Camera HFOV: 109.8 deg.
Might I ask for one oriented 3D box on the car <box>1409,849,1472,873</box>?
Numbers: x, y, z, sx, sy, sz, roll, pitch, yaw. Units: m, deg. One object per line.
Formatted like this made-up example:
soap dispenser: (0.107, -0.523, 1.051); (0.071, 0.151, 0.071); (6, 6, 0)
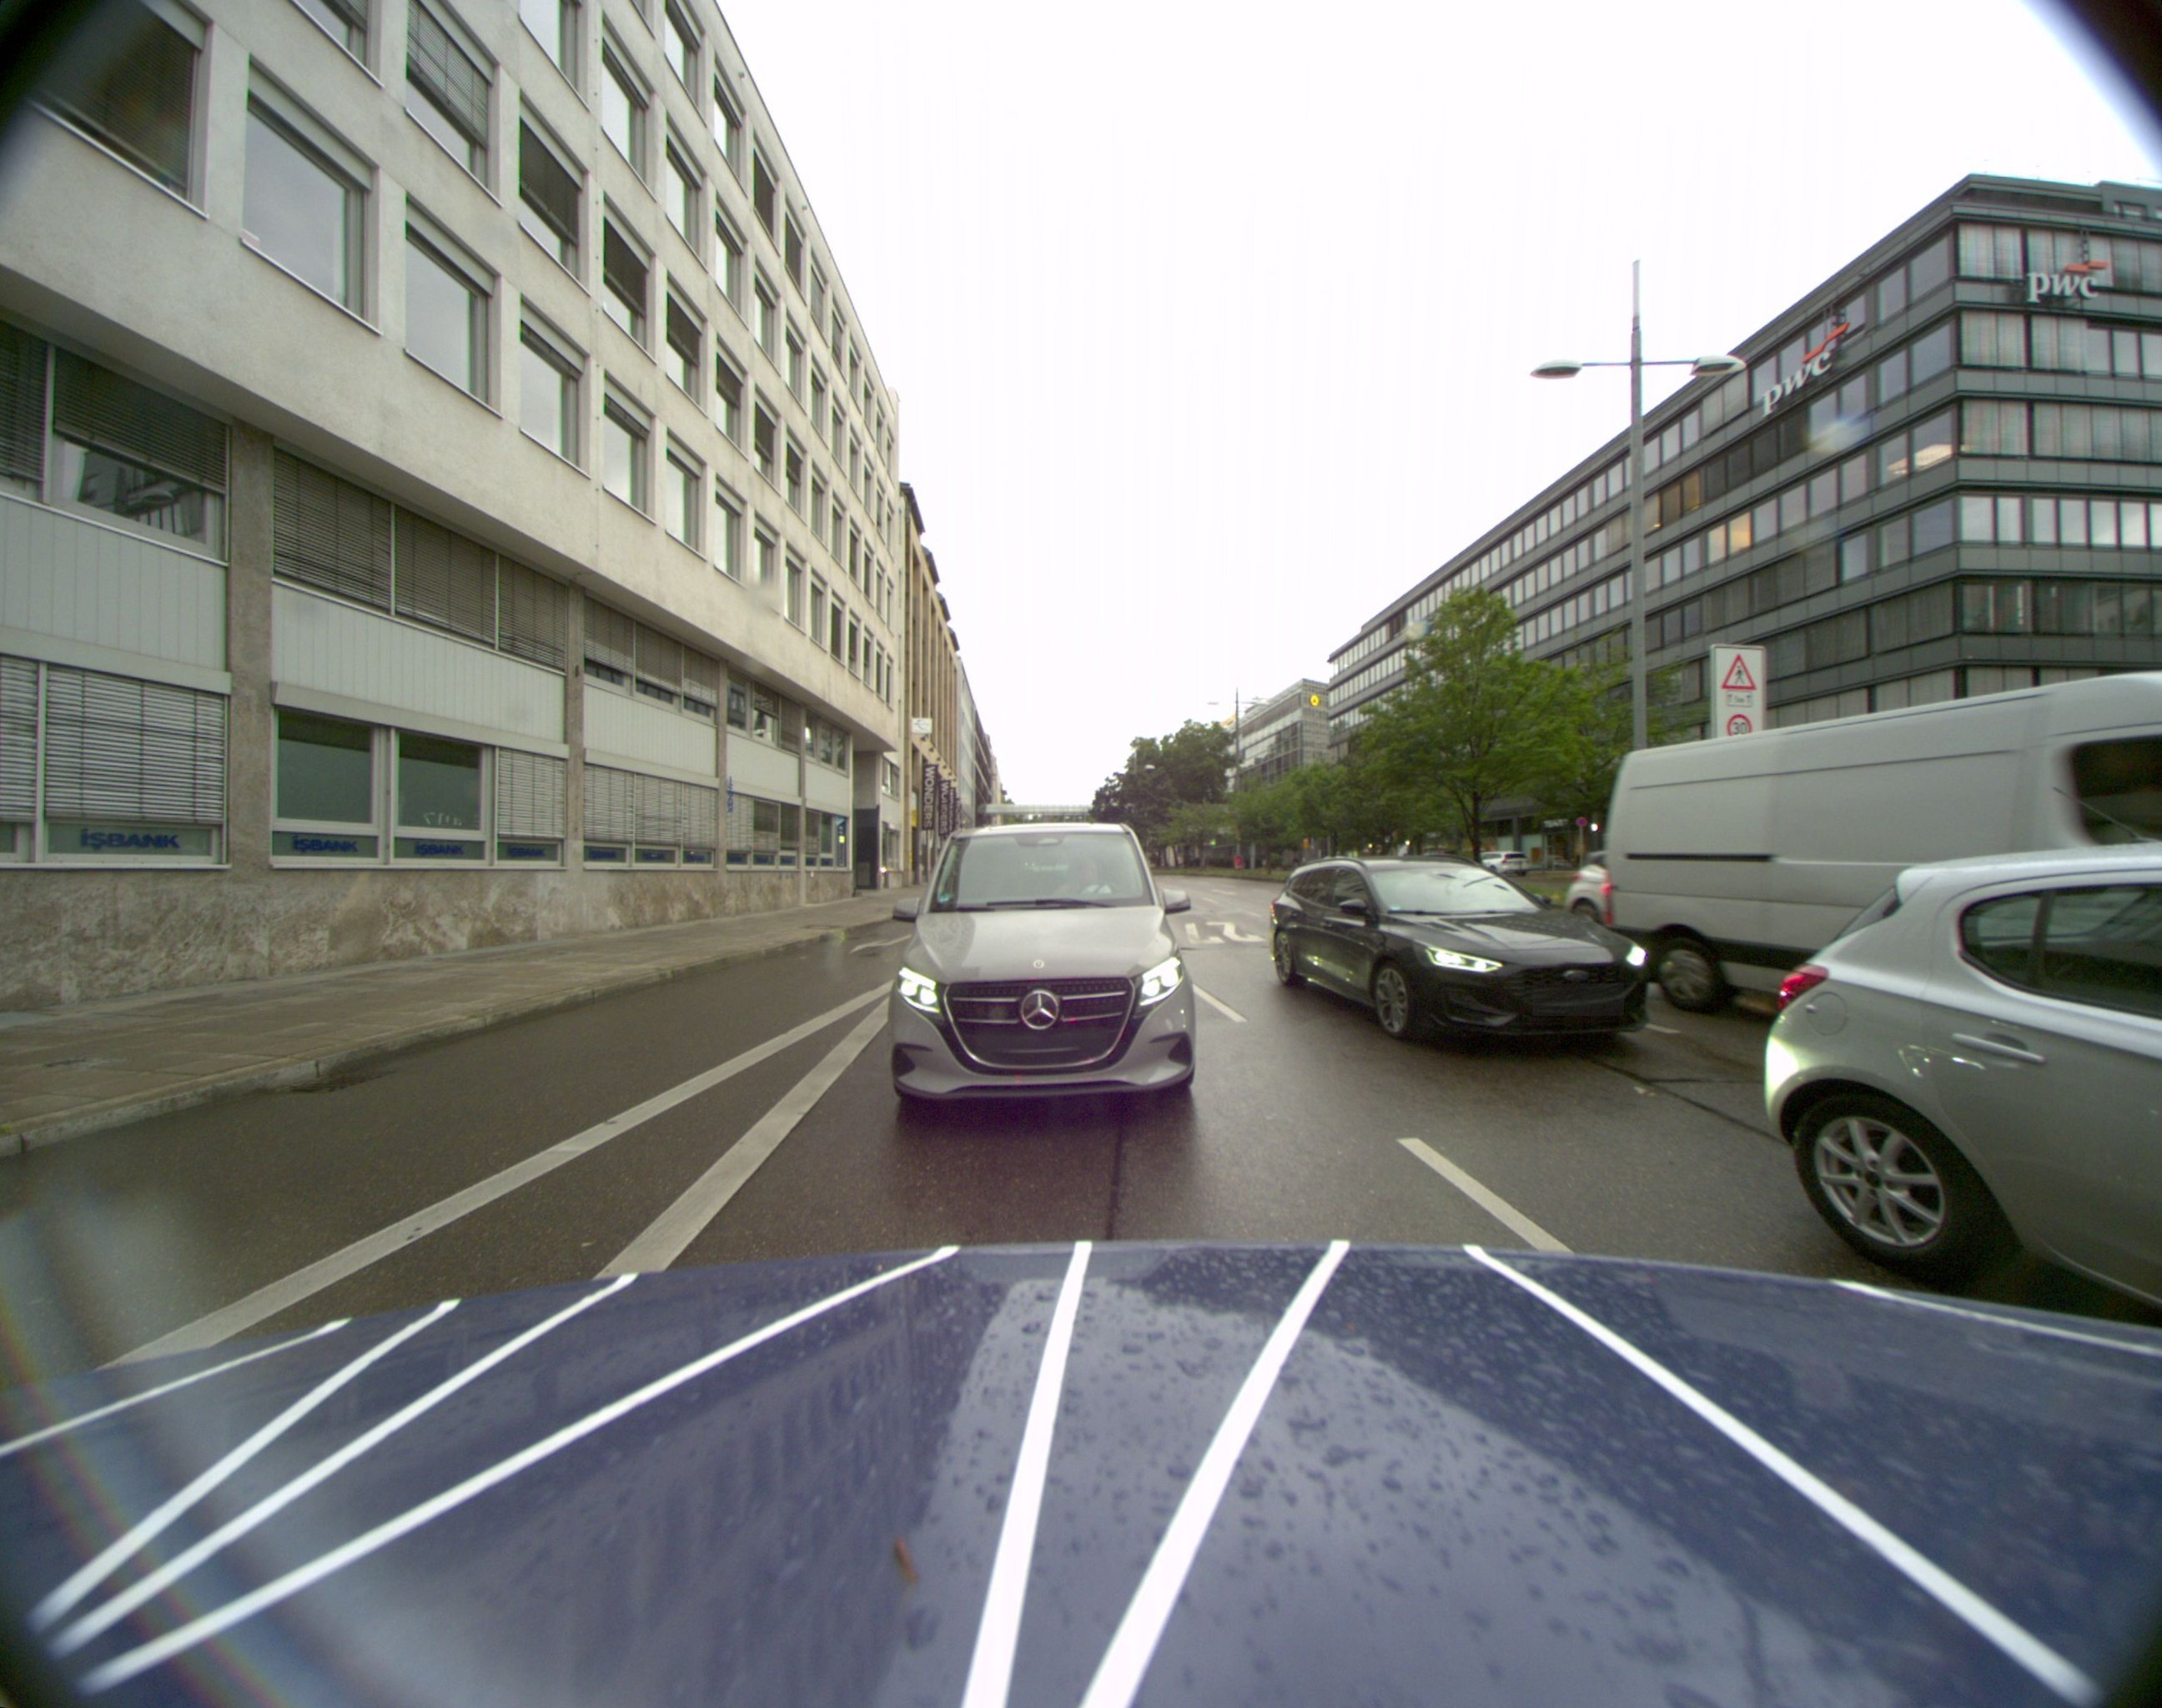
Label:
car: (23.639, 0.449, 50.132); (1.999, 1.498, 4.106); (-2, 0, -4)

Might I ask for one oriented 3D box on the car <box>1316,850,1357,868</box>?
car: (22.386, 0.459, 66.677); (1.999, 1.498, 3.999); (-2, 0, -4)

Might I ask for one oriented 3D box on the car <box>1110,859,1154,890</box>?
car: (2.481, 0.988, 37.602); (1.776, 1.372, 4.094); (-2, 0, -1)

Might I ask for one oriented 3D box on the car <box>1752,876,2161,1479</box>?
car: (3.521, 0.825, 1.085); (1.652, 1.427, 3.875); (-2, 0, 0)

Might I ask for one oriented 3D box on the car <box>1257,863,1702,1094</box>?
car: (3.135, 0.839, 7.085); (1.776, 1.427, 4.093); (-2, 0, -4)

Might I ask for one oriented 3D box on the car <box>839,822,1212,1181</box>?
car: (-0.308, 0.790, 6.554); (1.916, 1.844, 5.026); (-2, 0, 0)

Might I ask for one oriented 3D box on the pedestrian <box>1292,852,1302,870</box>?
pedestrian: (24.769, 0.834, 87.064); (0.928, 2.002, 0.539); (-2, 0, -1)

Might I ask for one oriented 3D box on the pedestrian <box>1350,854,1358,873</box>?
pedestrian: (29.542, 1.000, 82.230); (0.689, 2.002, 0.501); (-2, 0, -3)

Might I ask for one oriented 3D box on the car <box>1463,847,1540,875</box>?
car: (24.096, 0.390, 43.674); (1.999, 1.498, 3.999); (-2, 0, -4)

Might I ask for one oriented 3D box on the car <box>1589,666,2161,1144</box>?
car: (6.337, 0.238, 4.937); (1.952, 2.426, 5.477); (-2, 0, -6)
